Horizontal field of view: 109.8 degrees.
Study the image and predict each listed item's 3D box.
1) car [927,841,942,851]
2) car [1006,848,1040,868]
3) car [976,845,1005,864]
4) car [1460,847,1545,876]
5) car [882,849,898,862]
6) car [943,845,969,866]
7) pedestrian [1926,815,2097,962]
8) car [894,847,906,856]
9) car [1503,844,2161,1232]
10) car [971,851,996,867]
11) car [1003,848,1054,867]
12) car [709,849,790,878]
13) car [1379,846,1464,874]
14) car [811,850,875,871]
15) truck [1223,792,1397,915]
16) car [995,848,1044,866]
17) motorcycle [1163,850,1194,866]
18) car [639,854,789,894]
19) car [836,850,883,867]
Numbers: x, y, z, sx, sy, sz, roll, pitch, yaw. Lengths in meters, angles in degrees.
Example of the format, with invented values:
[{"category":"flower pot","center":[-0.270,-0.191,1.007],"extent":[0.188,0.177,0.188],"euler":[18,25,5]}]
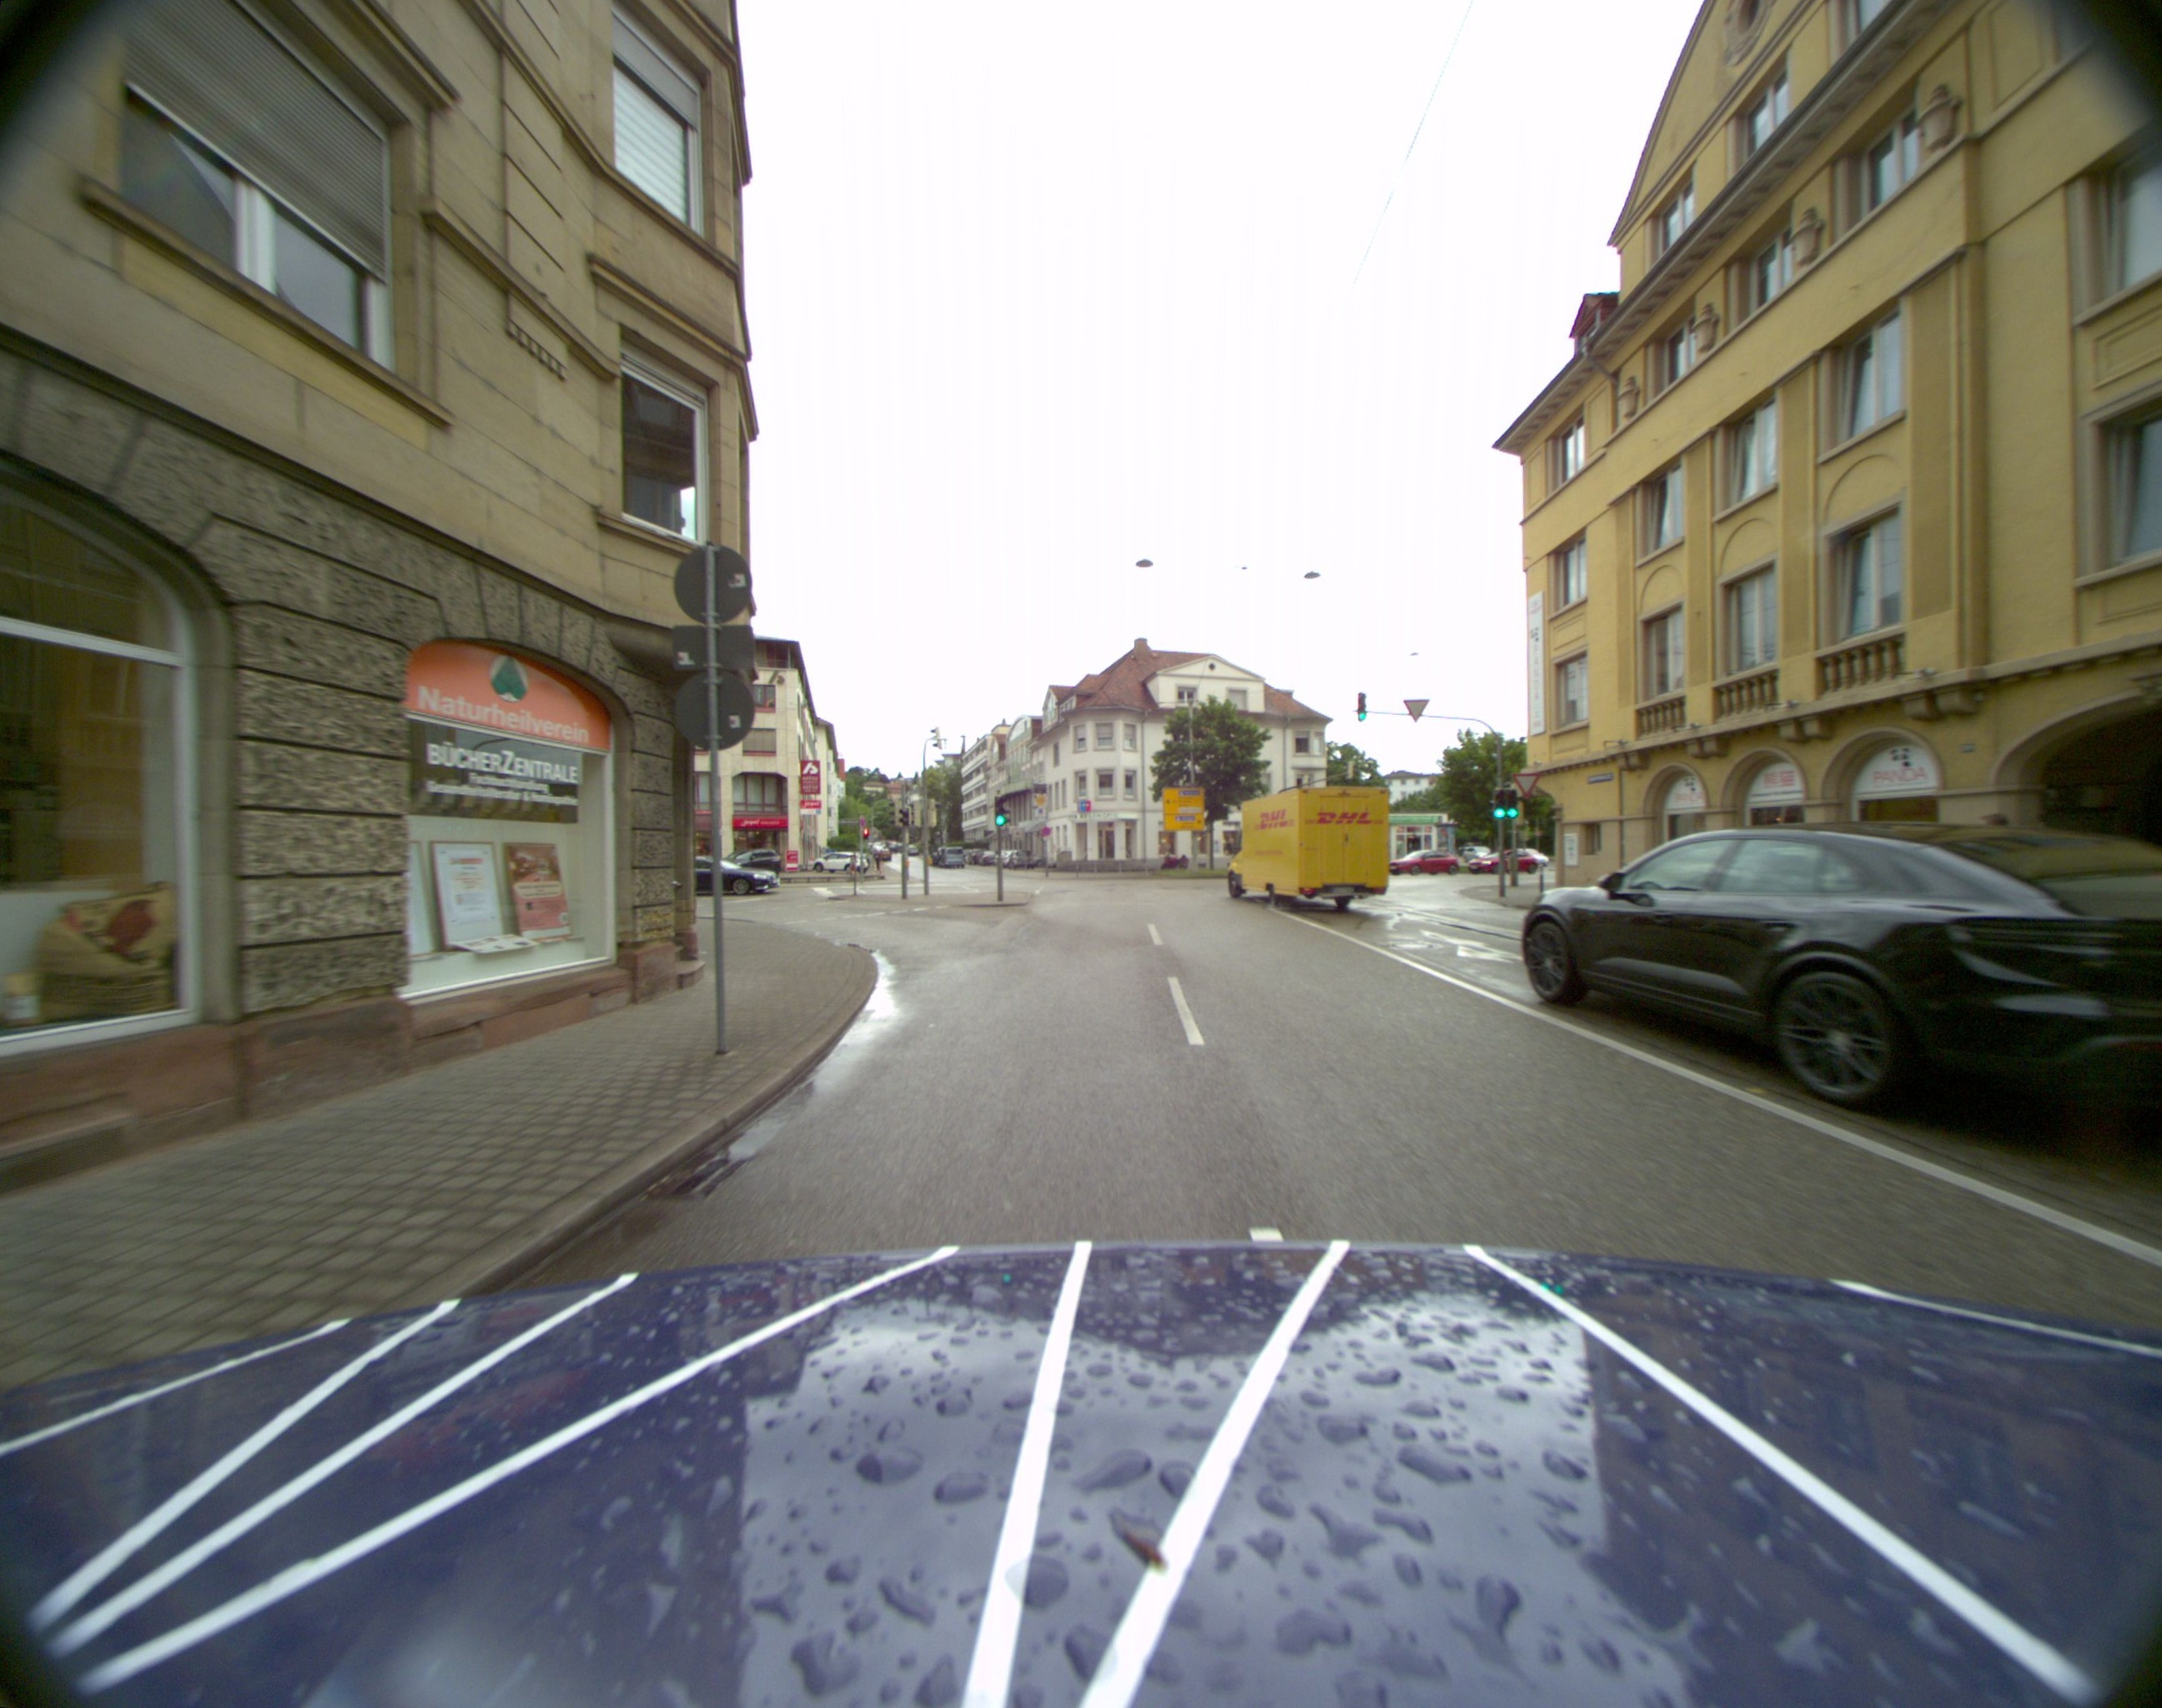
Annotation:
[{"category":"car","center":[-24.396,-1.375,126.479],"extent":[2.001,1.576,4.652],"euler":[0,1,-16]},{"category":"car","center":[-4.710,0.277,60.773],"extent":[2.001,1.499,3.994],"euler":[0,1,-15]},{"category":"car","center":[-8.716,0.015,72.927],"extent":[2.001,1.576,3.994],"euler":[-6,3,-15]},{"category":"car","center":[24.506,0.408,44.252],"extent":[4.041,1.575,2.021],"euler":[0,1,-15]},{"category":"car","center":[-26.118,0.176,103.824],"extent":[2.001,1.576,4.652],"euler":[0,1,-16]},{"category":"car","center":[-11.860,0.079,71.946],"extent":[2.001,1.904,3.994],"euler":[-1,1,-16]},{"category":"pedestrian","center":[12.060,0.424,9.890],"extent":[0.895,1.761,1.032],"euler":[-4,1,1]},{"category":"car","center":[-33.845,-0.534,142.020],"extent":[2.001,1.576,4.652],"euler":[0,1,-16]},{"category":"car","center":[5.152,0.730,5.379],"extent":[1.947,1.574,4.605],"euler":[0,1,3]},{"category":"car","center":[-10.093,0.508,78.473],"extent":[2.001,1.576,3.994],"euler":[0,1,-16]},{"category":"car","center":[-4.518,0.272,65.041],"extent":[4.003,1.499,1.997],"euler":[0,1,-17]},{"category":"car","center":[-18.611,0.489,42.876],"extent":[1.929,1.540,4.262],"euler":[0,1,14]},{"category":"car","center":[19.185,0.317,42.871],"extent":[4.041,1.509,2.021],"euler":[0,1,-15]},{"category":"car","center":[-17.001,0.441,54.245],"extent":[3.992,1.486,1.803],"euler":[0,1,16]},{"category":"truck","center":[5.760,-0.070,20.446],"extent":[2.234,2.735,7.021],"euler":[0,1,-3]},{"category":"car","center":[-5.485,0.237,67.259],"extent":[4.003,1.499,1.997],"euler":[0,1,-17]},{"category":"motorcycle","center":[6.796,0.268,53.035],"extent":[2.014,1.142,0.718],"euler":[0,1,-14]},{"category":"car","center":[-13.392,0.707,27.912],"extent":[4.526,1.409,1.933],"euler":[0,1,1]},{"category":"car","center":[-19.829,0.392,68.126],"extent":[4.002,1.499,1.997],"euler":[0,1,-14]}]
